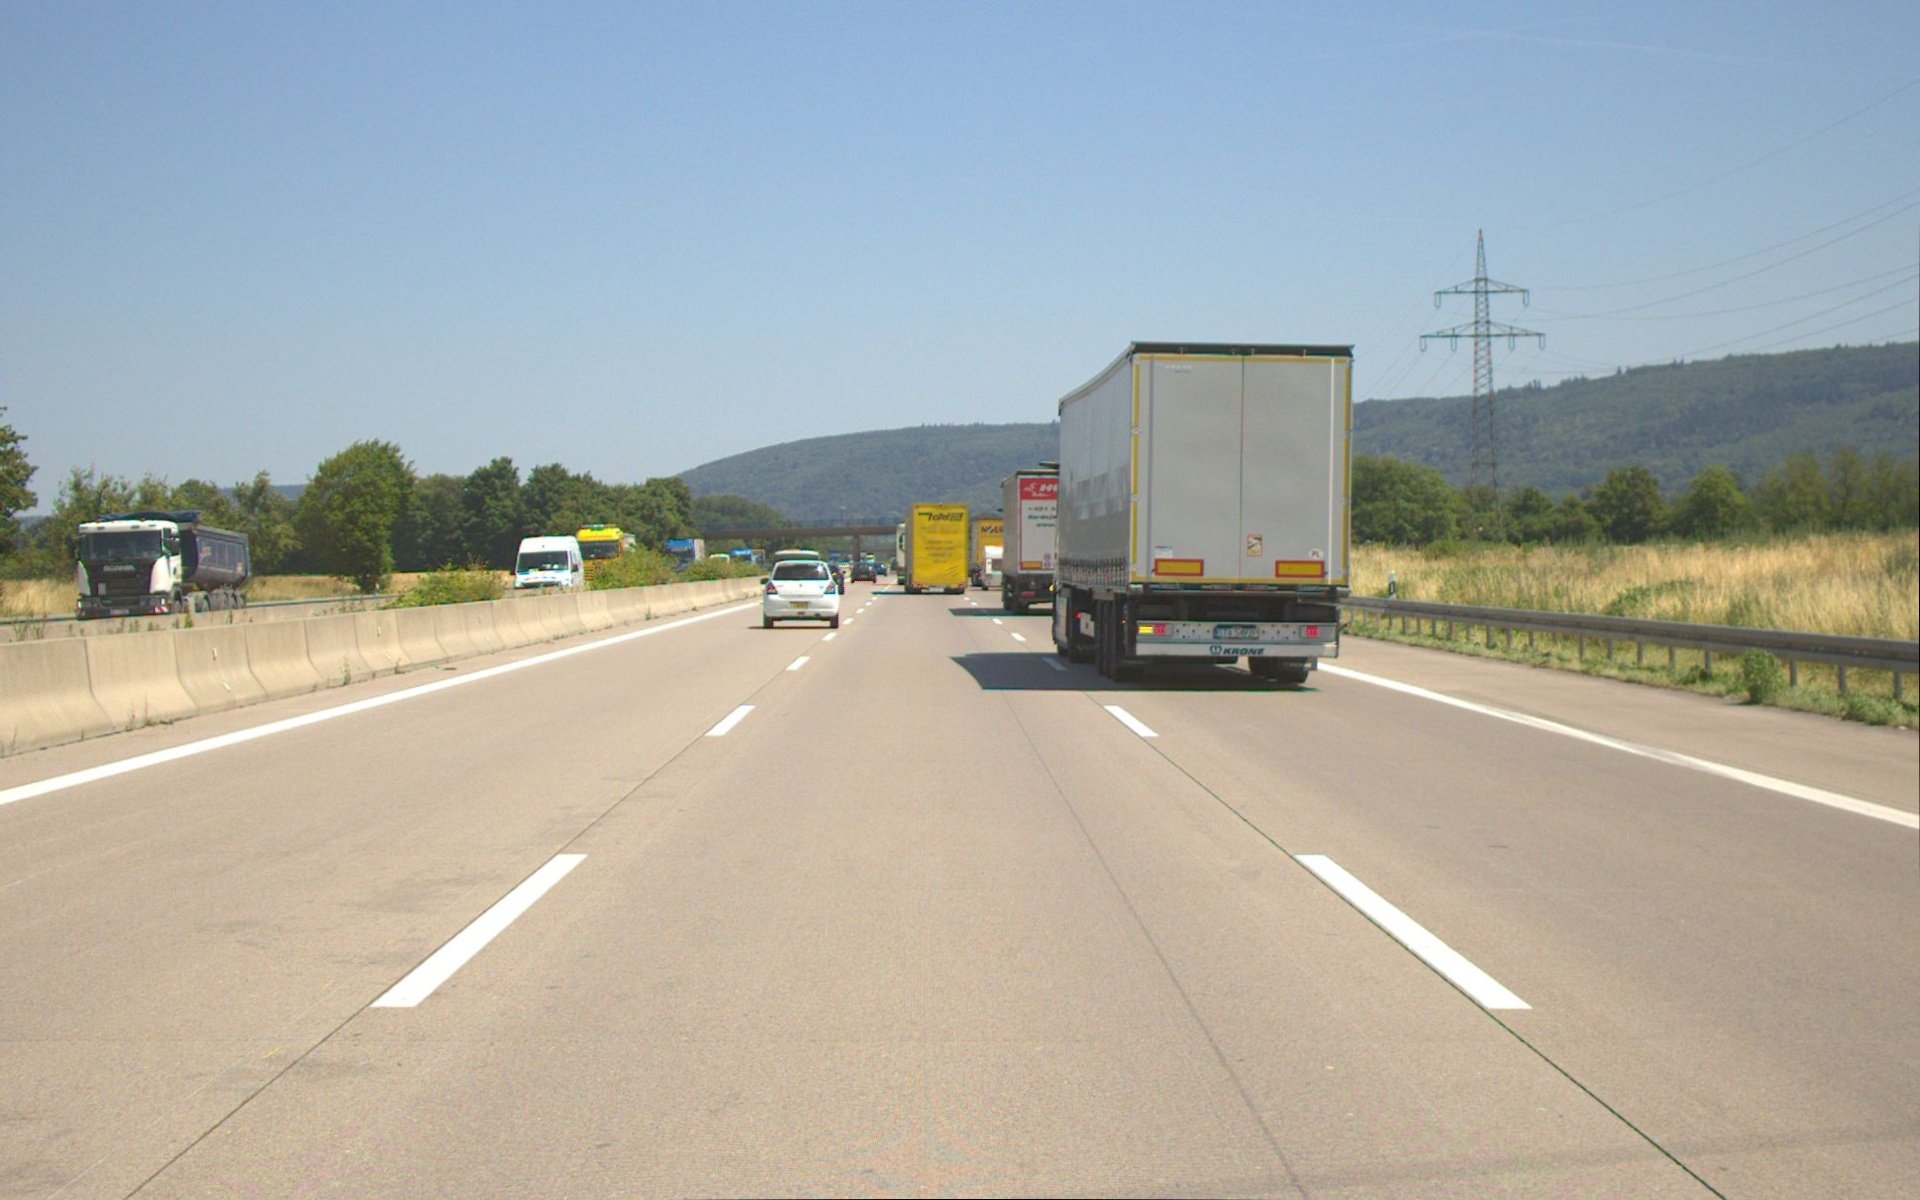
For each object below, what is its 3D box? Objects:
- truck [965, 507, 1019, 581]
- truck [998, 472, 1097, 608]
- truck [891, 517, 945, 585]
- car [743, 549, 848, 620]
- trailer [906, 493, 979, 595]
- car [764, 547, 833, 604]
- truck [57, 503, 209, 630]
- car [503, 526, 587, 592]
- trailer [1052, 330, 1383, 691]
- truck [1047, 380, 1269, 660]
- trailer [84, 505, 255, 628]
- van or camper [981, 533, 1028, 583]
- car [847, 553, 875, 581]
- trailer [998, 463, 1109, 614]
[{"bbox_3d":[1.911,-3.365,206.556,2.999,4.299,9.684,1,1,-1],"label":"truck"},{"bbox_3d":[2.674,-1.862,107.172,2.905,4.086,6.272,1,1,0],"label":"truck"},{"bbox_3d":[-2.717,-3.129,220.901,3.353,4.257,8.229,1,1,-1],"label":"truck"},{"bbox_3d":[-3.681,-0.361,77.476,2.107,1.530,4.122,1,1,1],"label":"car"},{"bbox_3d":[-0.843,-2.611,161.421,3.216,4.548,13.457,1,1,0],"label":"trailer"},{"bbox_3d":[-5.800,-0.902,124.002,2.254,2.007,4.297,1,1,0],"label":"car"},{"bbox_3d":[-22.345,-0.912,93.152,2.806,3.293,5.614,1,1,-1],"label":"truck"},{"bbox_3d":[-14.319,-1.429,119.024,2.210,2.181,6.326,1,1,-1],"label":"car"},{"bbox_3d":[3.104,-1.103,46.030,3.018,4.047,14.208,1,1,-1],"label":"trailer"},{"bbox_3d":[2.964,-1.200,53.002,2.984,4.048,5.478,1,1,-1],"label":"truck"},{"bbox_3d":[-22.416,-0.976,97.966,2.828,3.293,9.464,1,1,-1],"label":"trailer"},{"bbox_3d":[2.302,-2.162,178.548,2.224,2.522,5.431,1,1,-1],"label":"van or camper"},{"bbox_3d":[-6.744,-2.244,234.075,1.784,1.875,4.000,1,1,0],"label":"car"},{"bbox_3d":[2.632,-1.780,100.820,2.874,4.086,13.513,1,1,0],"label":"trailer"}]
